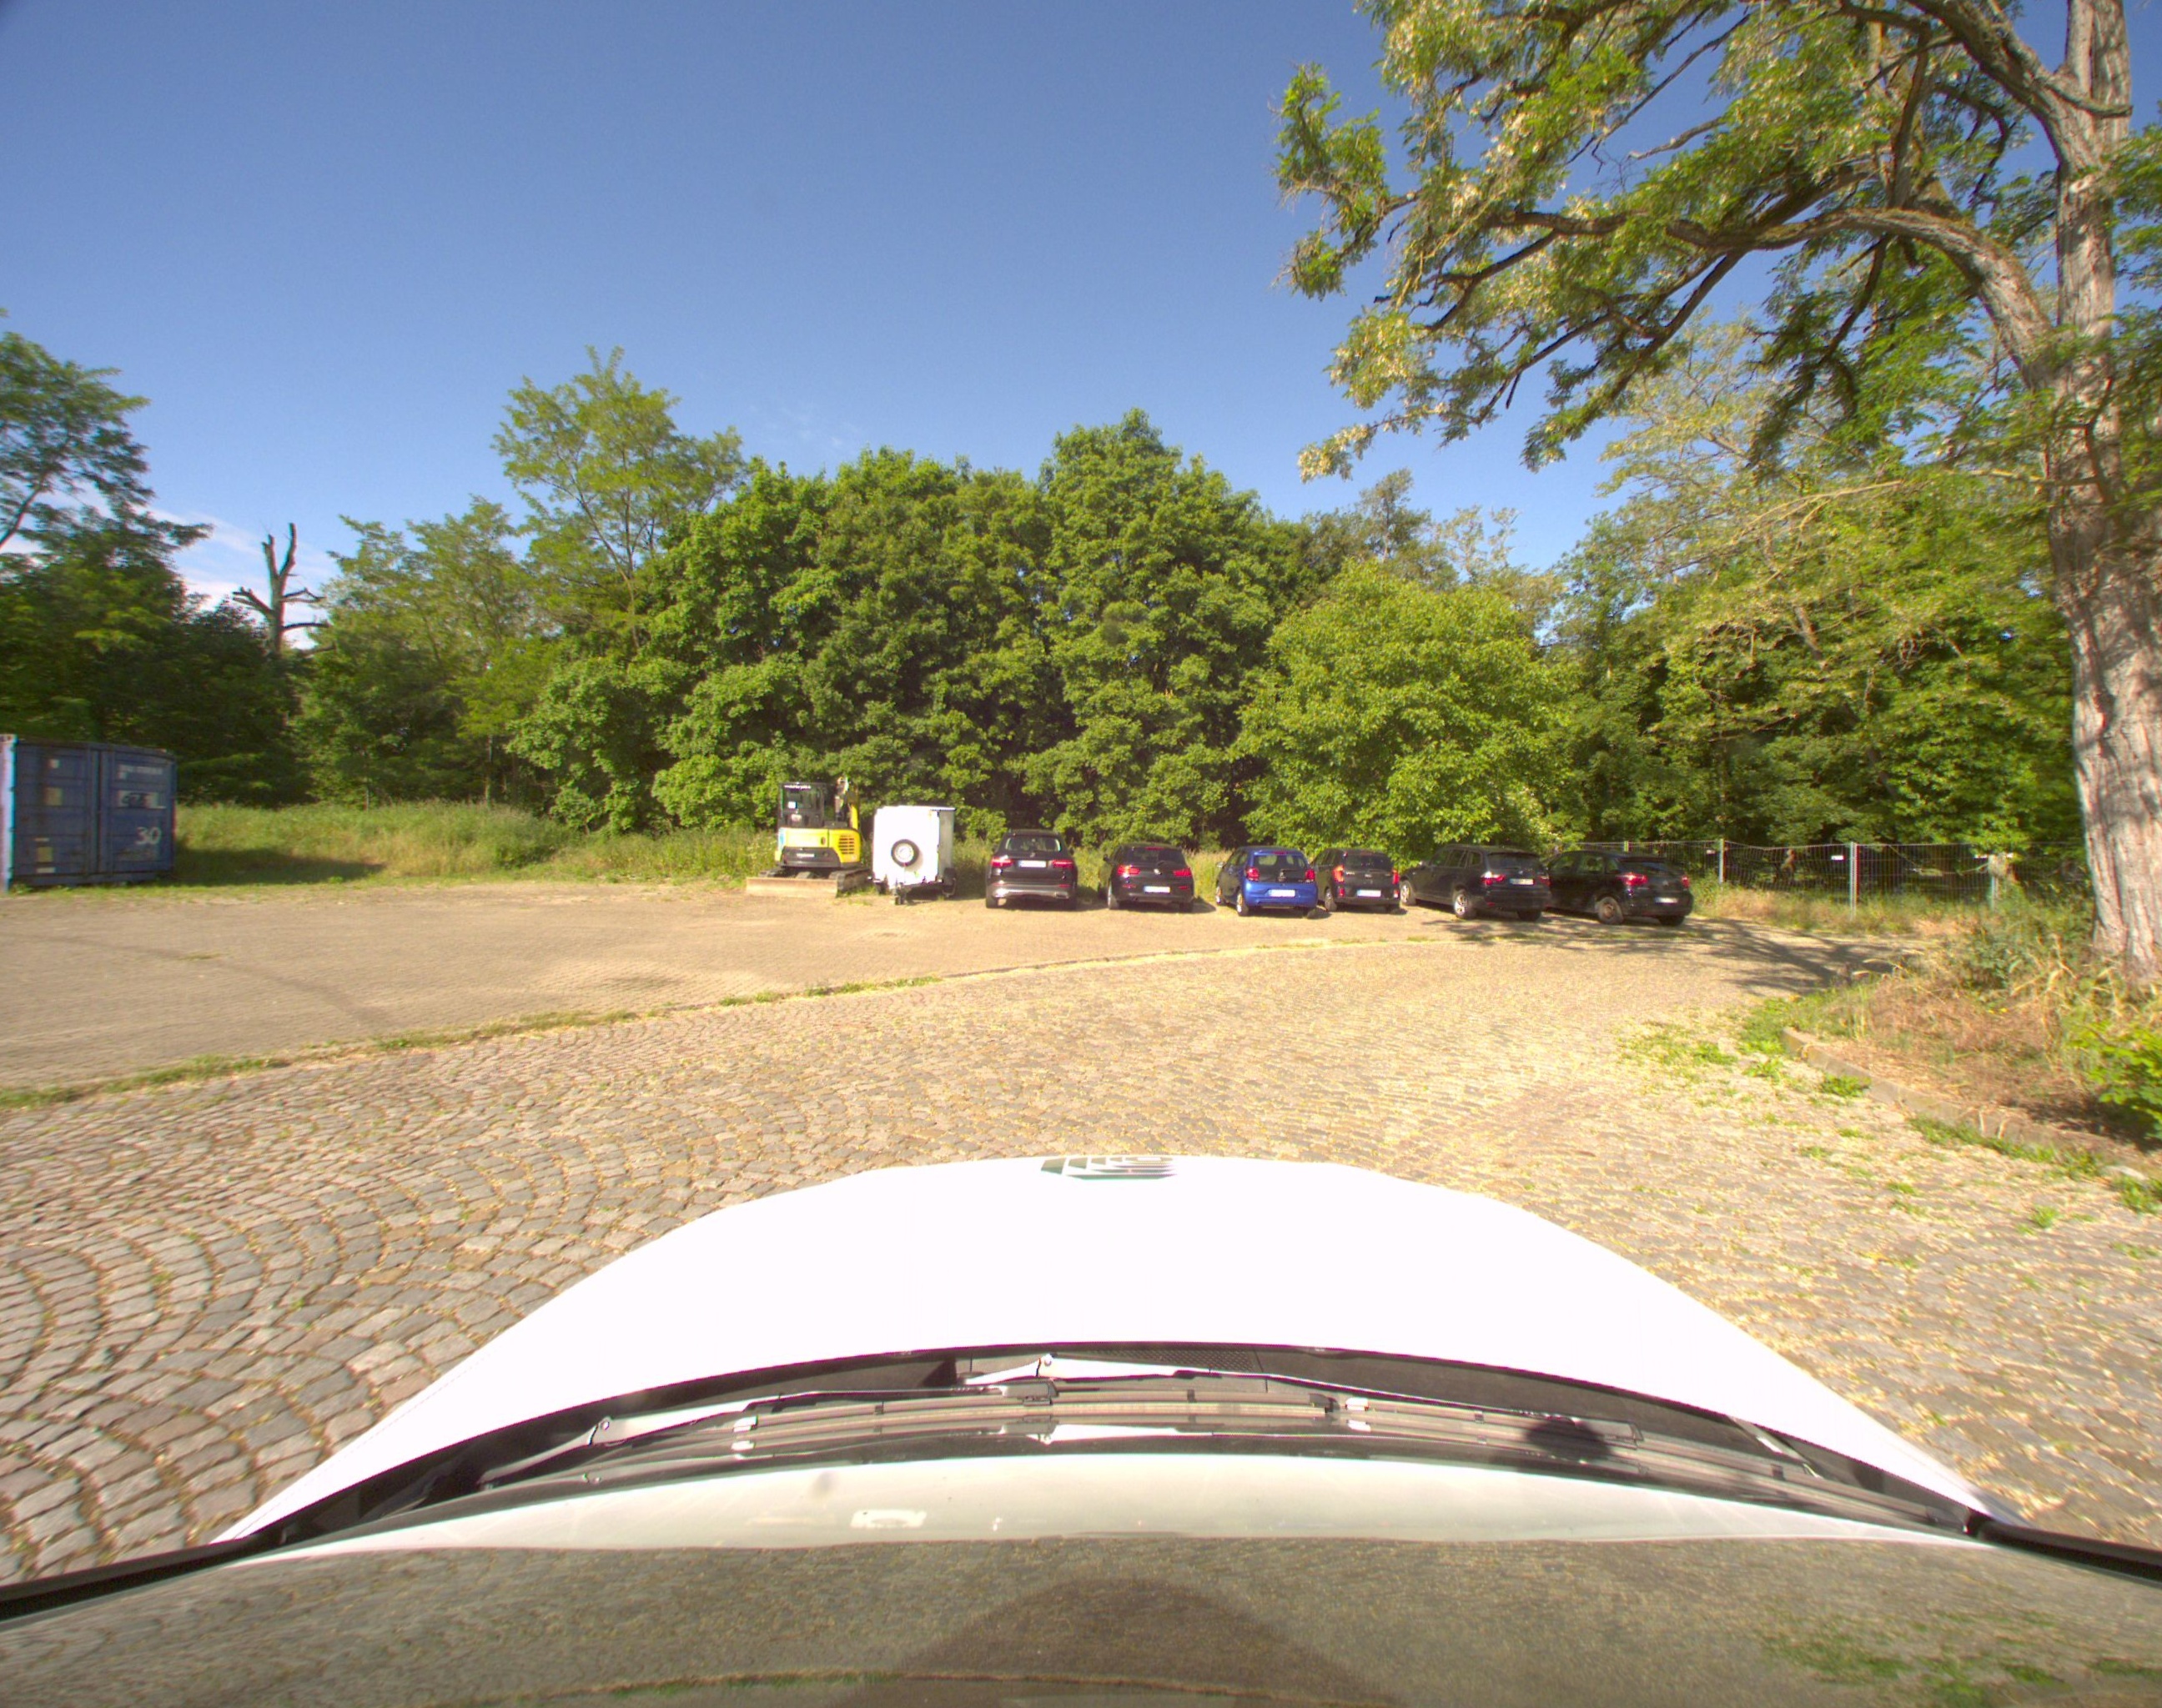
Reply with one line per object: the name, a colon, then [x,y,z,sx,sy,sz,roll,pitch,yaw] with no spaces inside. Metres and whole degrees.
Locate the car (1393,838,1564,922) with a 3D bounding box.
car: [9.306,0.523,19.506,1.808,1.655,4.186,1,2,-4]

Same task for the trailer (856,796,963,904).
trailer: [-3.679,-0.164,18.114,1.629,2.093,3.971,1,2,-2]

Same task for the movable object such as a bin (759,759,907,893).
movable object such as a bin: [-6.122,-0.673,20.880,1.986,2.965,5.167,1,1,2]

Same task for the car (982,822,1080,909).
car: [-0.987,0.178,17.676,1.856,1.641,3.820,1,1,-1]

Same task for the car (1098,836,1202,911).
car: [1.413,0.363,18.139,1.824,1.451,3.660,1,1,-3]

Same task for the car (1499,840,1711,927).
car: [12.357,0.615,19.602,1.788,1.651,4.286,1,3,-11]

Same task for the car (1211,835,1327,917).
car: [4.084,0.409,18.304,1.703,1.492,3.664,1,3,-1]

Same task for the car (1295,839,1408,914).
car: [6.437,0.460,19.767,1.666,1.515,3.554,2,3,2]
